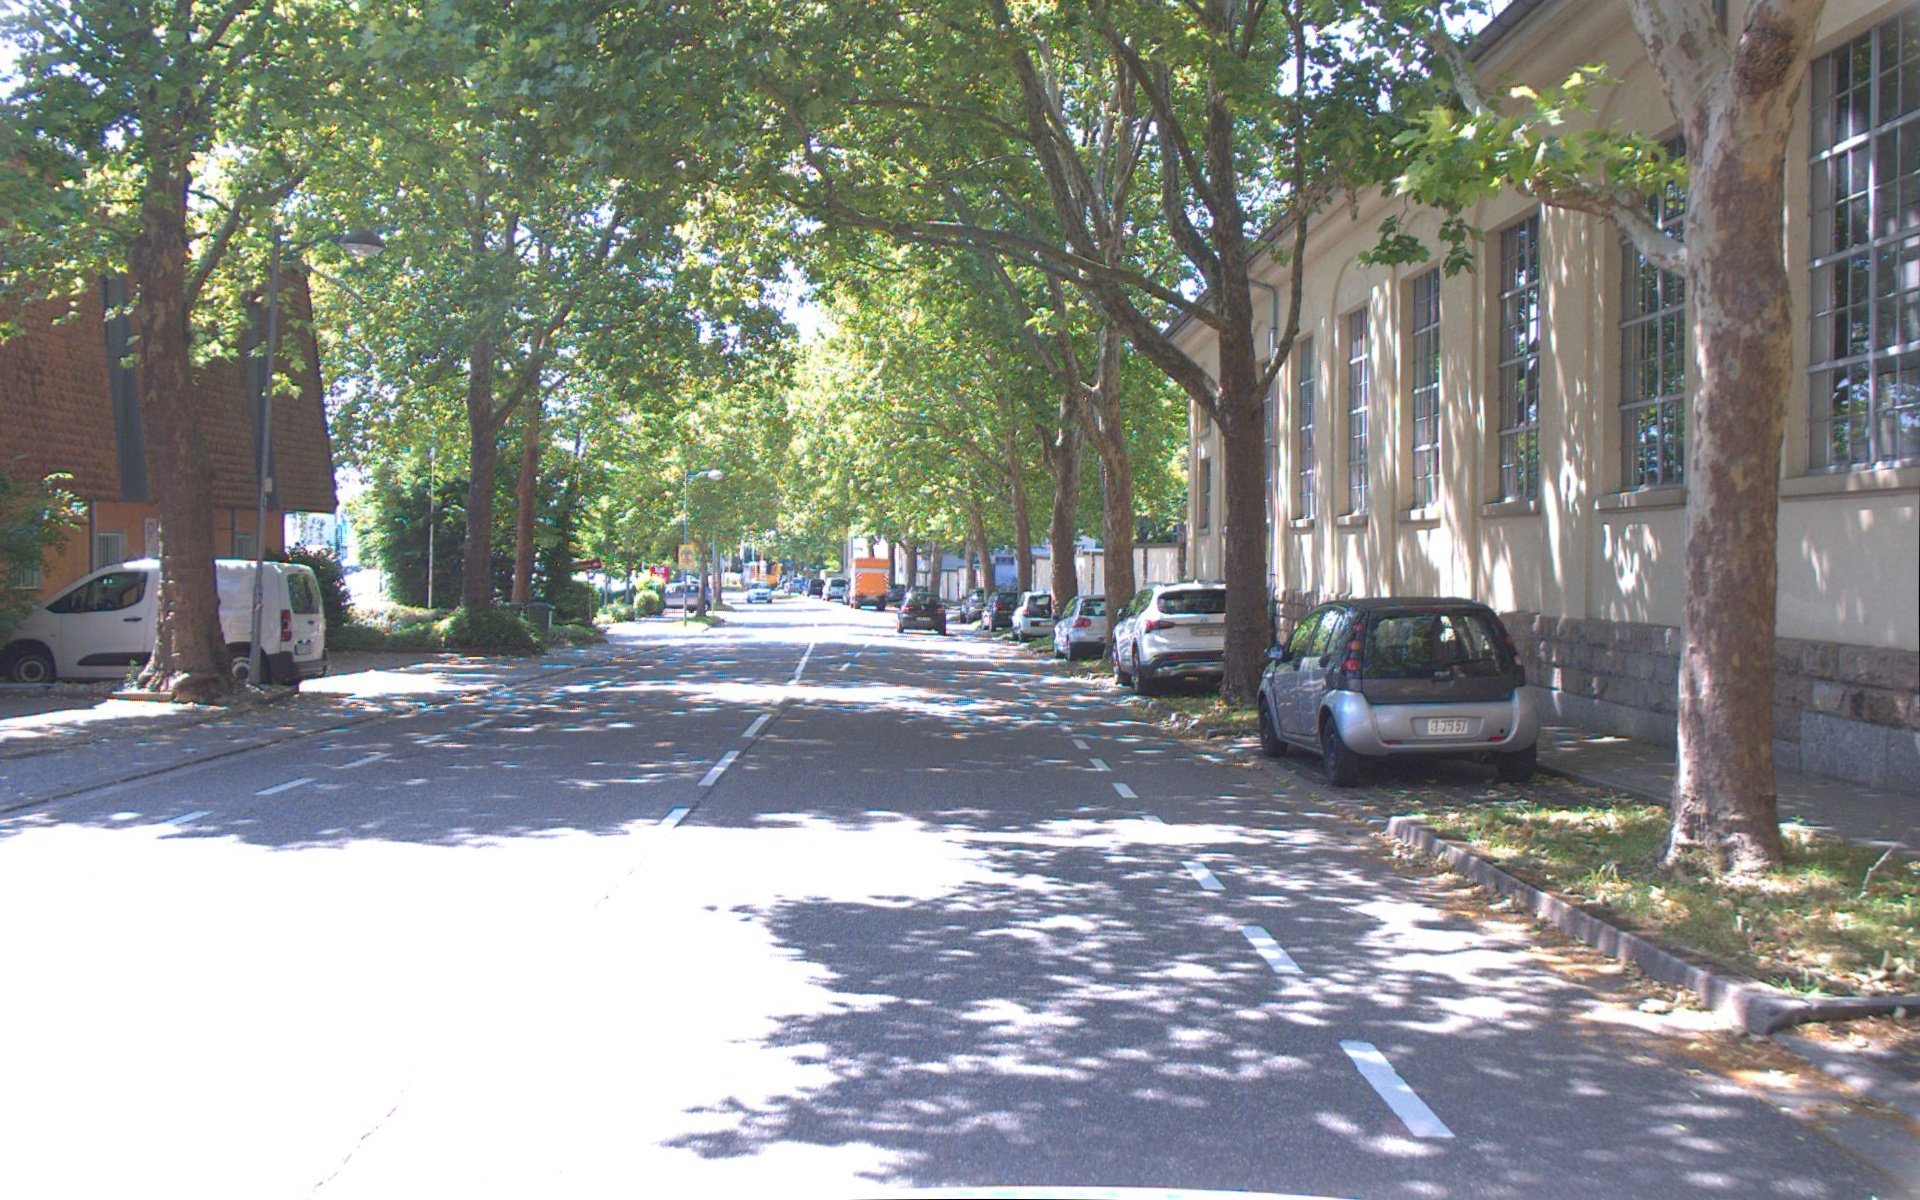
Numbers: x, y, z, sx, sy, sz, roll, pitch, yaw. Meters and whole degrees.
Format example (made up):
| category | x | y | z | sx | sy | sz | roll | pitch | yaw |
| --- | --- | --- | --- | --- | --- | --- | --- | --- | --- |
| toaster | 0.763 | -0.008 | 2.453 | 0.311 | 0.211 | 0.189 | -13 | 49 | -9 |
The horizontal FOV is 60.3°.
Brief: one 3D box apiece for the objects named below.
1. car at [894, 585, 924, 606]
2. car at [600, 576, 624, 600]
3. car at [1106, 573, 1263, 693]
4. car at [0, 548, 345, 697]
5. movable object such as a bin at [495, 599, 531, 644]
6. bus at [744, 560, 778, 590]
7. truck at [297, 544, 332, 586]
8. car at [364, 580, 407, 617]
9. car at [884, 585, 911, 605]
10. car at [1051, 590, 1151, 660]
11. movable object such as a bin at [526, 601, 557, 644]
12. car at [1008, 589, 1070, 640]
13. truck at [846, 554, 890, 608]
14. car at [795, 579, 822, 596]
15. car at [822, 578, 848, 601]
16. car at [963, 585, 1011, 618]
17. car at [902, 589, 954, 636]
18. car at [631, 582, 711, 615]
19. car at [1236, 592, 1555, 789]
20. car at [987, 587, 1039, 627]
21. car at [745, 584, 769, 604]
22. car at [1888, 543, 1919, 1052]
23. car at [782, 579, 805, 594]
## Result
| category | x | y | z | sx | sy | sz | roll | pitch | yaw |
| --- | --- | --- | --- | --- | --- | --- | --- | --- | --- |
| car | -3.432 | -0.287 | 110.177 | 1.732 | 1.398 | 3.725 | 1 | 0 | -6 |
| car | -31.102 | -1.044 | 147.910 | 1.960 | 2.049 | 3.985 | 0 | -1 | -14 |
| car | 3.521 | 0.478 | 26.720 | 1.771 | 1.718 | 4.750 | -1 | 0 | -1 |
| car | -10.837 | 0.298 | 22.694 | 4.047 | 1.836 | 1.902 | 2 | 0 | -4 |
| movable object such as a bin | -11.046 | 0.530 | 40.874 | 0.720 | 1.097 | 0.701 | 0 | 0 | -2 |
| bus | -22.587 | -2.760 | 187.517 | 2.618 | 3.206 | 11.158 | 0 | 0 | -13 |
| truck | -49.506 | -2.627 | 126.786 | 2.290 | 2.943 | 6.533 | 1 | -1 | -24 |
| car | -33.493 | -0.080 | 96.436 | 1.960 | 2.049 | 3.985 | 0 | -1 | -14 |
| car | -4.657 | -0.382 | 122.156 | 1.732 | 1.398 | 3.725 | -1 | 0 | -6 |
| car | 3.115 | 0.529 | 37.281 | 1.731 | 1.458 | 3.873 | -1 | 0 | -3 |
| movable object such as a bin | -10.366 | 0.551 | 40.988 | 0.611 | 1.066 | 0.620 | 0 | 0 | -1 |
| car | 2.435 | 0.436 | 51.802 | 1.546 | 1.491 | 3.873 | -1 | 0 | -3 |
| truck | -5.770 | -1.152 | 103.414 | 2.326 | 3.189 | 5.759 | 0 | -1 | -8 |
| car | -13.036 | -1.035 | 142.124 | 1.737 | 1.398 | 3.716 | -1 | 0 | -14 |
| car | -9.629 | -0.789 | 127.320 | 1.843 | 1.715 | 3.994 | 0 | -1 | -6 |
| car | 1.175 | 0.069 | 73.920 | 1.732 | 1.398 | 3.725 | -1 | 0 | -6 |
| car | -1.159 | 0.404 | 58.237 | 1.677 | 1.472 | 4.056 | 0 | 2 | -3 |
| car | -15.687 | -0.082 | 89.874 | 1.965 | 1.695 | 3.973 | -1 | -2 | 43 |
| car | 3.686 | 0.680 | 14.810 | 1.588 | 1.465 | 4.431 | -1 | 0 | -1 |
| car | 2.027 | 0.249 | 64.316 | 1.731 | 1.491 | 3.873 | -1 | 0 | -3 |
| car | -14.857 | -0.446 | 121.330 | 1.678 | 1.473 | 4.052 | 0 | 0 | -6 |
| car | 3.813 | 0.628 | 2.882 | 1.705 | 1.584 | 4.780 | -1 | 1 | 0 |
| car | -15.897 | -1.295 | 157.564 | 1.736 | 1.398 | 3.717 | -1 | 0 | -13 |
